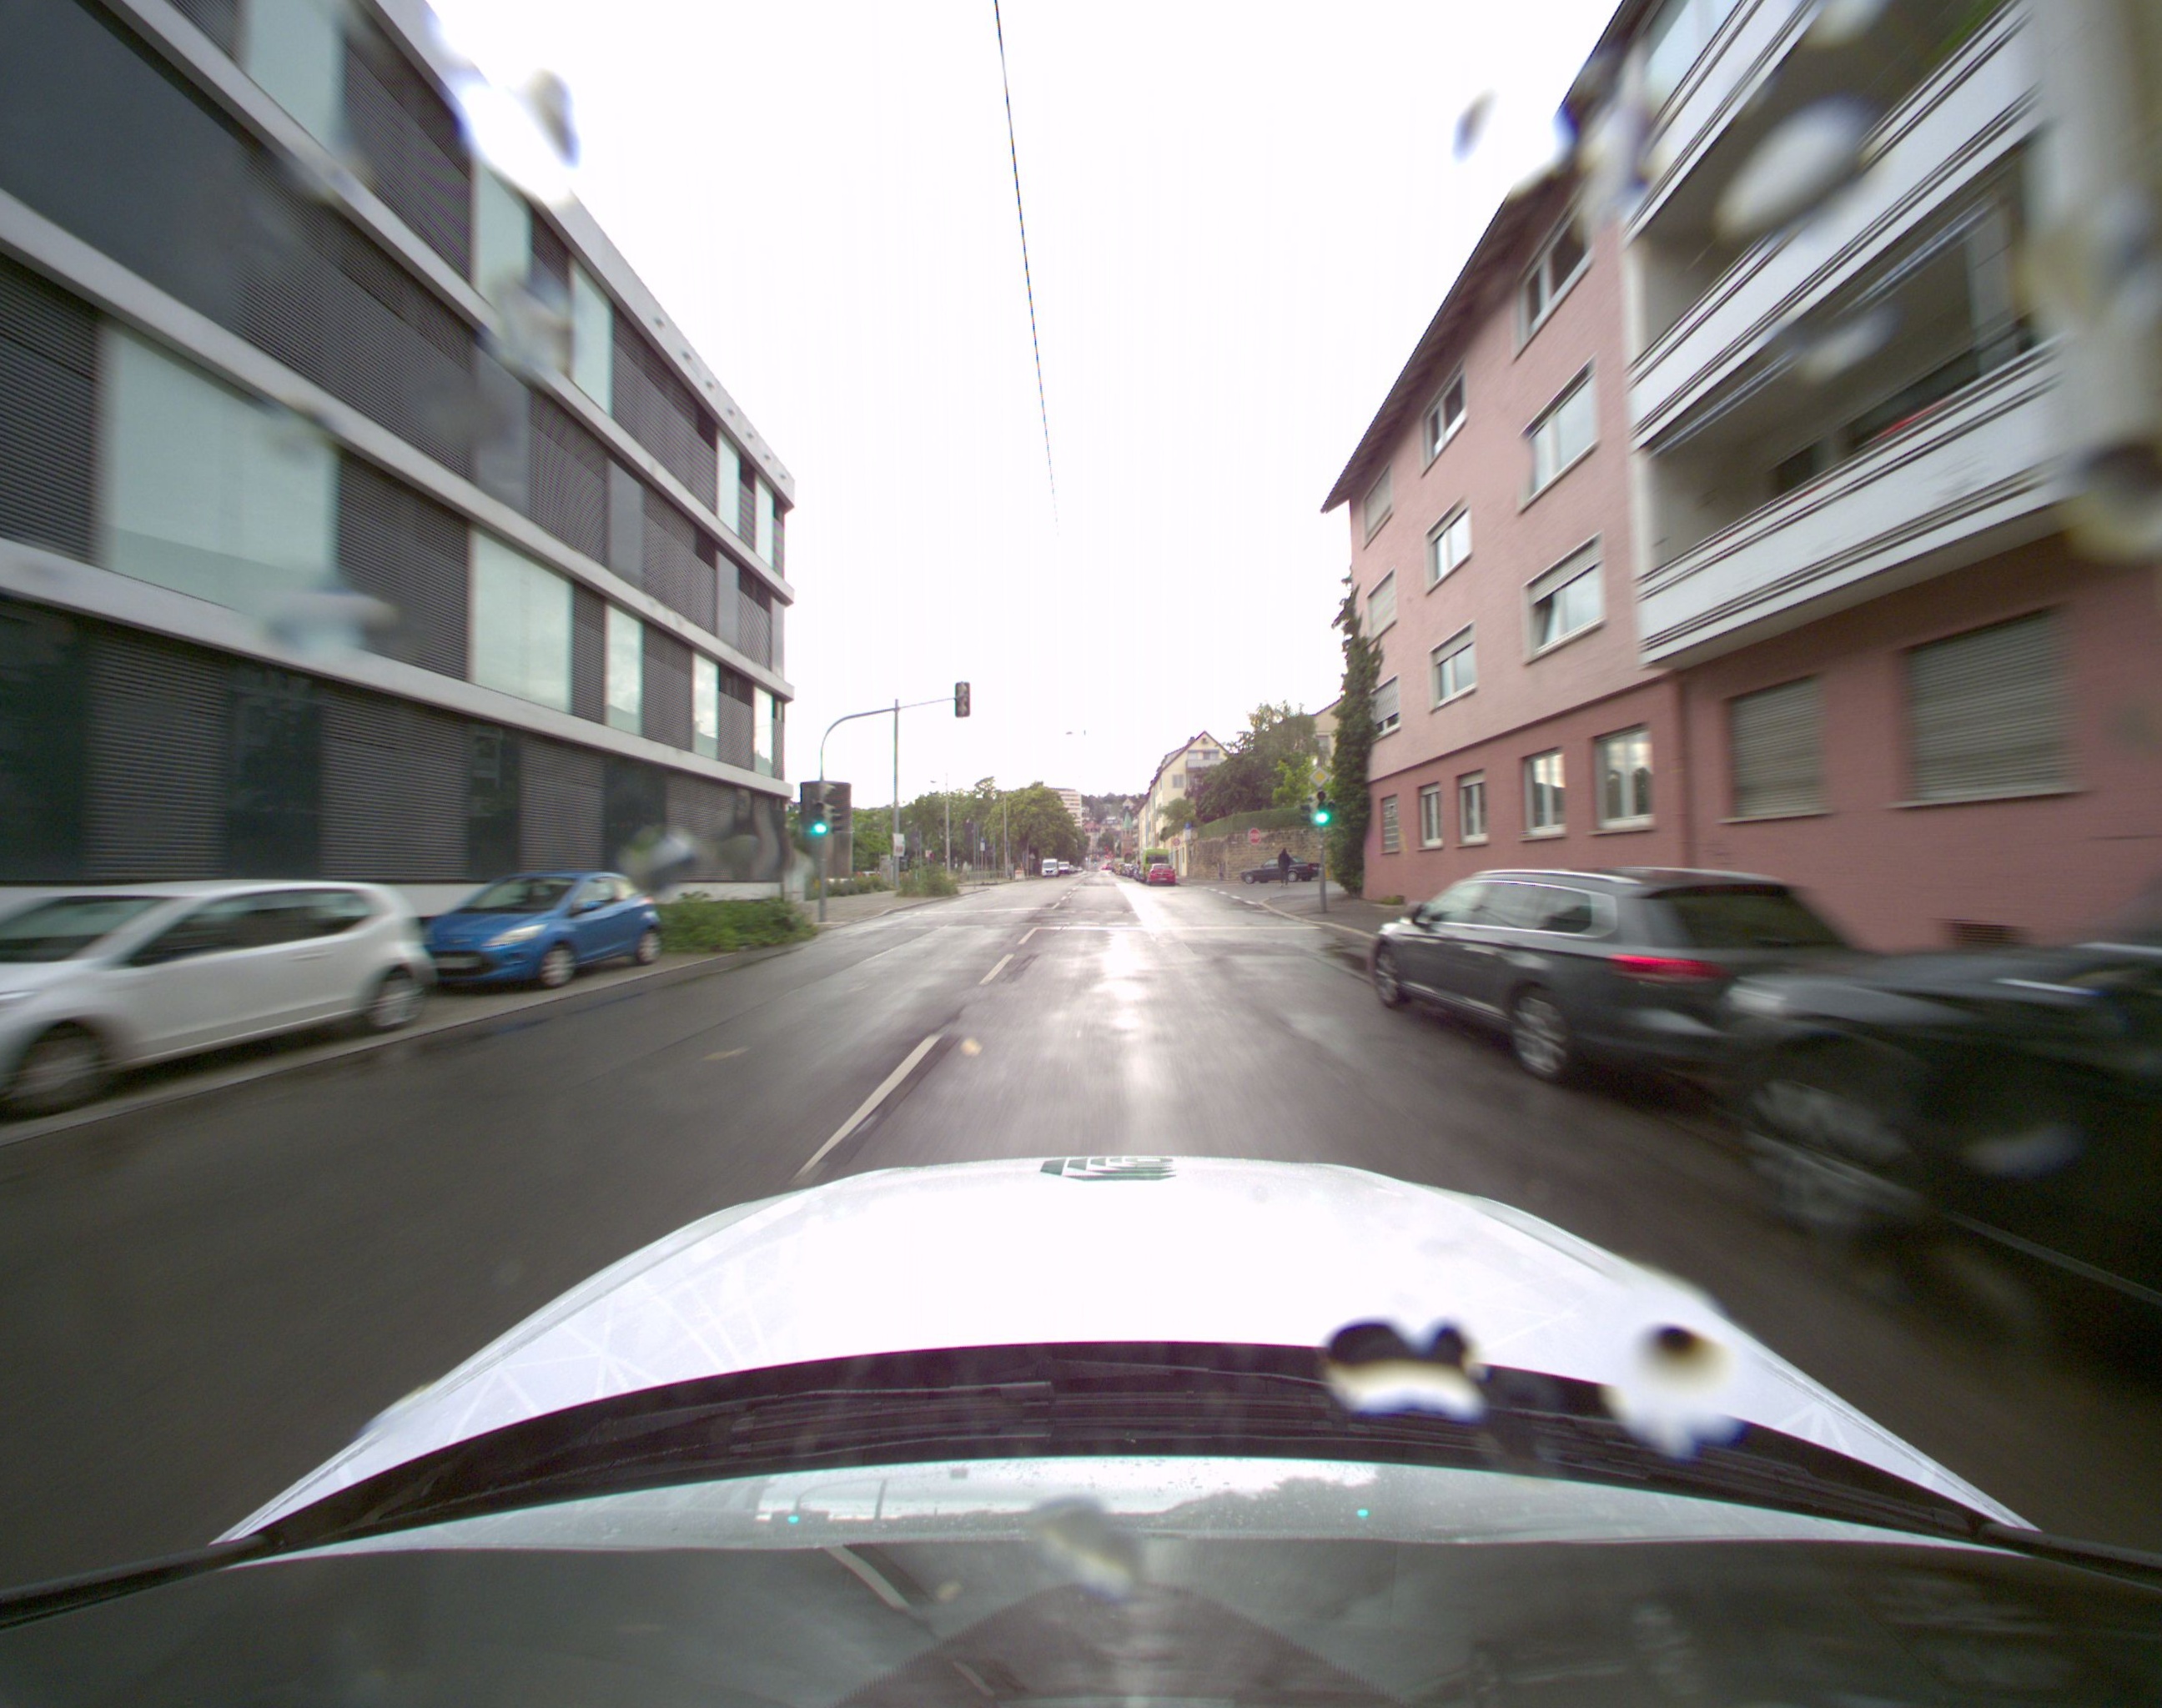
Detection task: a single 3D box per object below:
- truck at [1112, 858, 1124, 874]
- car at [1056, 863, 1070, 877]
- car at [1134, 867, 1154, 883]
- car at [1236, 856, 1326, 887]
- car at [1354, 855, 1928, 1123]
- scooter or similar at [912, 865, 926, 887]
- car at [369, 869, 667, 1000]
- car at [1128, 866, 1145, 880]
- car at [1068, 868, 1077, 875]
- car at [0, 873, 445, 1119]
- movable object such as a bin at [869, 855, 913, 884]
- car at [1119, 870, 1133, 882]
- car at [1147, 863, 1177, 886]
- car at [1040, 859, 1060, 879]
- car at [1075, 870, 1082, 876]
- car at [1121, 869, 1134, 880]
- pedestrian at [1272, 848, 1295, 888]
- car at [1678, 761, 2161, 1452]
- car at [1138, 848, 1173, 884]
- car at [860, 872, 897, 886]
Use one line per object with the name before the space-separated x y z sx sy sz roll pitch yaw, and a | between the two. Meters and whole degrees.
truck | 7.586 2.467 167.812 2.460 3.172 7.038 -1 -2 2
car | -3.258 2.859 148.028 2.004 2.487 5.985 -2 -1 2
car | 5.970 1.988 77.808 1.682 1.454 4.235 1 0 1
car | 10.533 0.923 43.006 4.223 1.393 1.763 -5 -4 43
car | 4.014 0.795 6.987 1.787 1.520 4.510 -1 0 -1
scooter or similar | -9.499 1.291 47.702 0.494 1.248 1.232 0 -2 2
car | -7.474 0.974 11.291 1.632 1.466 3.583 -1 -1 0
car | 5.932 2.054 87.919 1.623 1.454 3.759 1 -1 1
car | -1.691 3.584 163.771 1.677 1.399 3.910 -2 -2 0
car | -7.391 0.925 6.553 1.631 1.466 3.586 -1 -1 2
movable object such as a bin | -16.477 1.357 70.549 1.679 2.459 5.228 0 -2 -38
car | 6.154 3.012 112.204 1.710 1.525 4.000 1 -1 1
car | 5.227 1.279 52.891 1.714 1.421 4.205 0 -1 2
car | -4.095 2.034 109.365 2.223 2.579 6.537 -3 -1 0
car | -0.579 5.200 219.399 1.704 1.451 4.293 -2 -2 0
car | 6.145 2.691 107.232 1.553 1.454 3.759 1 -1 1
pedestrian | 8.932 0.621 35.970 0.720 1.715 0.905 -2 -1 2
car | 3.728 0.631 1.538 1.956 1.774 4.513 -1 0 1
car | 5.394 0.862 59.620 2.197 2.463 6.081 0 -1 2
car | -28.563 3.515 115.036 1.975 1.834 4.721 -3 -2 43
